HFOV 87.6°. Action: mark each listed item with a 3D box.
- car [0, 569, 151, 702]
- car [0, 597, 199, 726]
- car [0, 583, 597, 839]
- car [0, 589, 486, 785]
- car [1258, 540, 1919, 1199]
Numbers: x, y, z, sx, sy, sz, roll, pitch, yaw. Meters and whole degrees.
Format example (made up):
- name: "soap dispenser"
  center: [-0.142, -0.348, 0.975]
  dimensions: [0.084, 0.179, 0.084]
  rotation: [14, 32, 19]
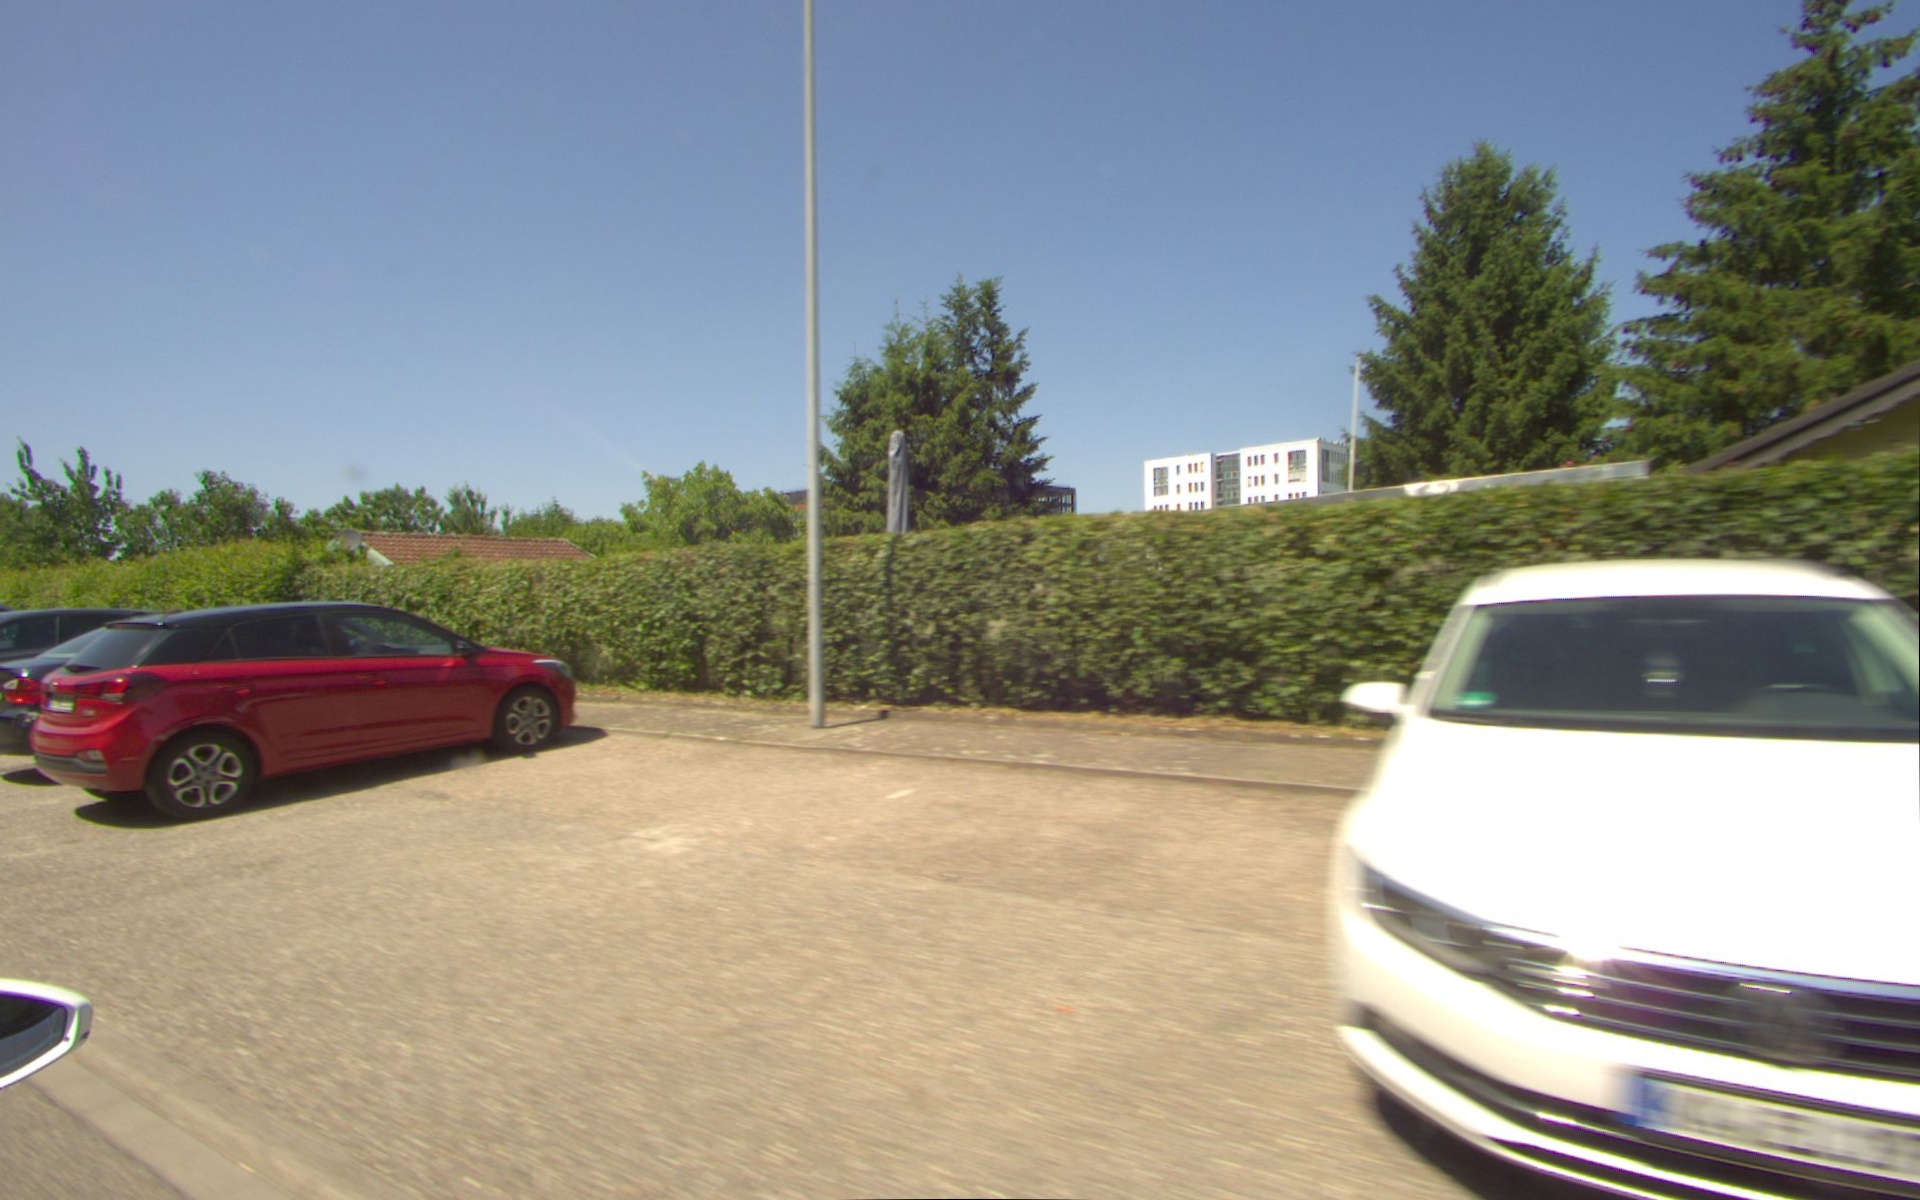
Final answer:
- name: "car"
  center: [-15.186, 0.588, 14.772]
  dimensions: [1.968, 1.874, 4.605]
  rotation: [0, 4, 34]
- name: "car"
  center: [-12.539, 0.799, 13.151]
  dimensions: [1.813, 1.522, 3.570]
  rotation: [0, 2, 28]
- name: "car"
  center: [-5.409, 0.704, 8.662]
  dimensions: [1.819, 1.499, 3.907]
  rotation: [0, 4, 33]
- name: "car"
  center: [-7.503, 0.709, 10.527]
  dimensions: [1.814, 1.408, 4.191]
  rotation: [0, 3, 32]
- name: "car"
  center: [2.620, 0.562, 3.750]
  dimensions: [1.932, 1.459, 4.548]
  rotation: [0, 3, 29]
